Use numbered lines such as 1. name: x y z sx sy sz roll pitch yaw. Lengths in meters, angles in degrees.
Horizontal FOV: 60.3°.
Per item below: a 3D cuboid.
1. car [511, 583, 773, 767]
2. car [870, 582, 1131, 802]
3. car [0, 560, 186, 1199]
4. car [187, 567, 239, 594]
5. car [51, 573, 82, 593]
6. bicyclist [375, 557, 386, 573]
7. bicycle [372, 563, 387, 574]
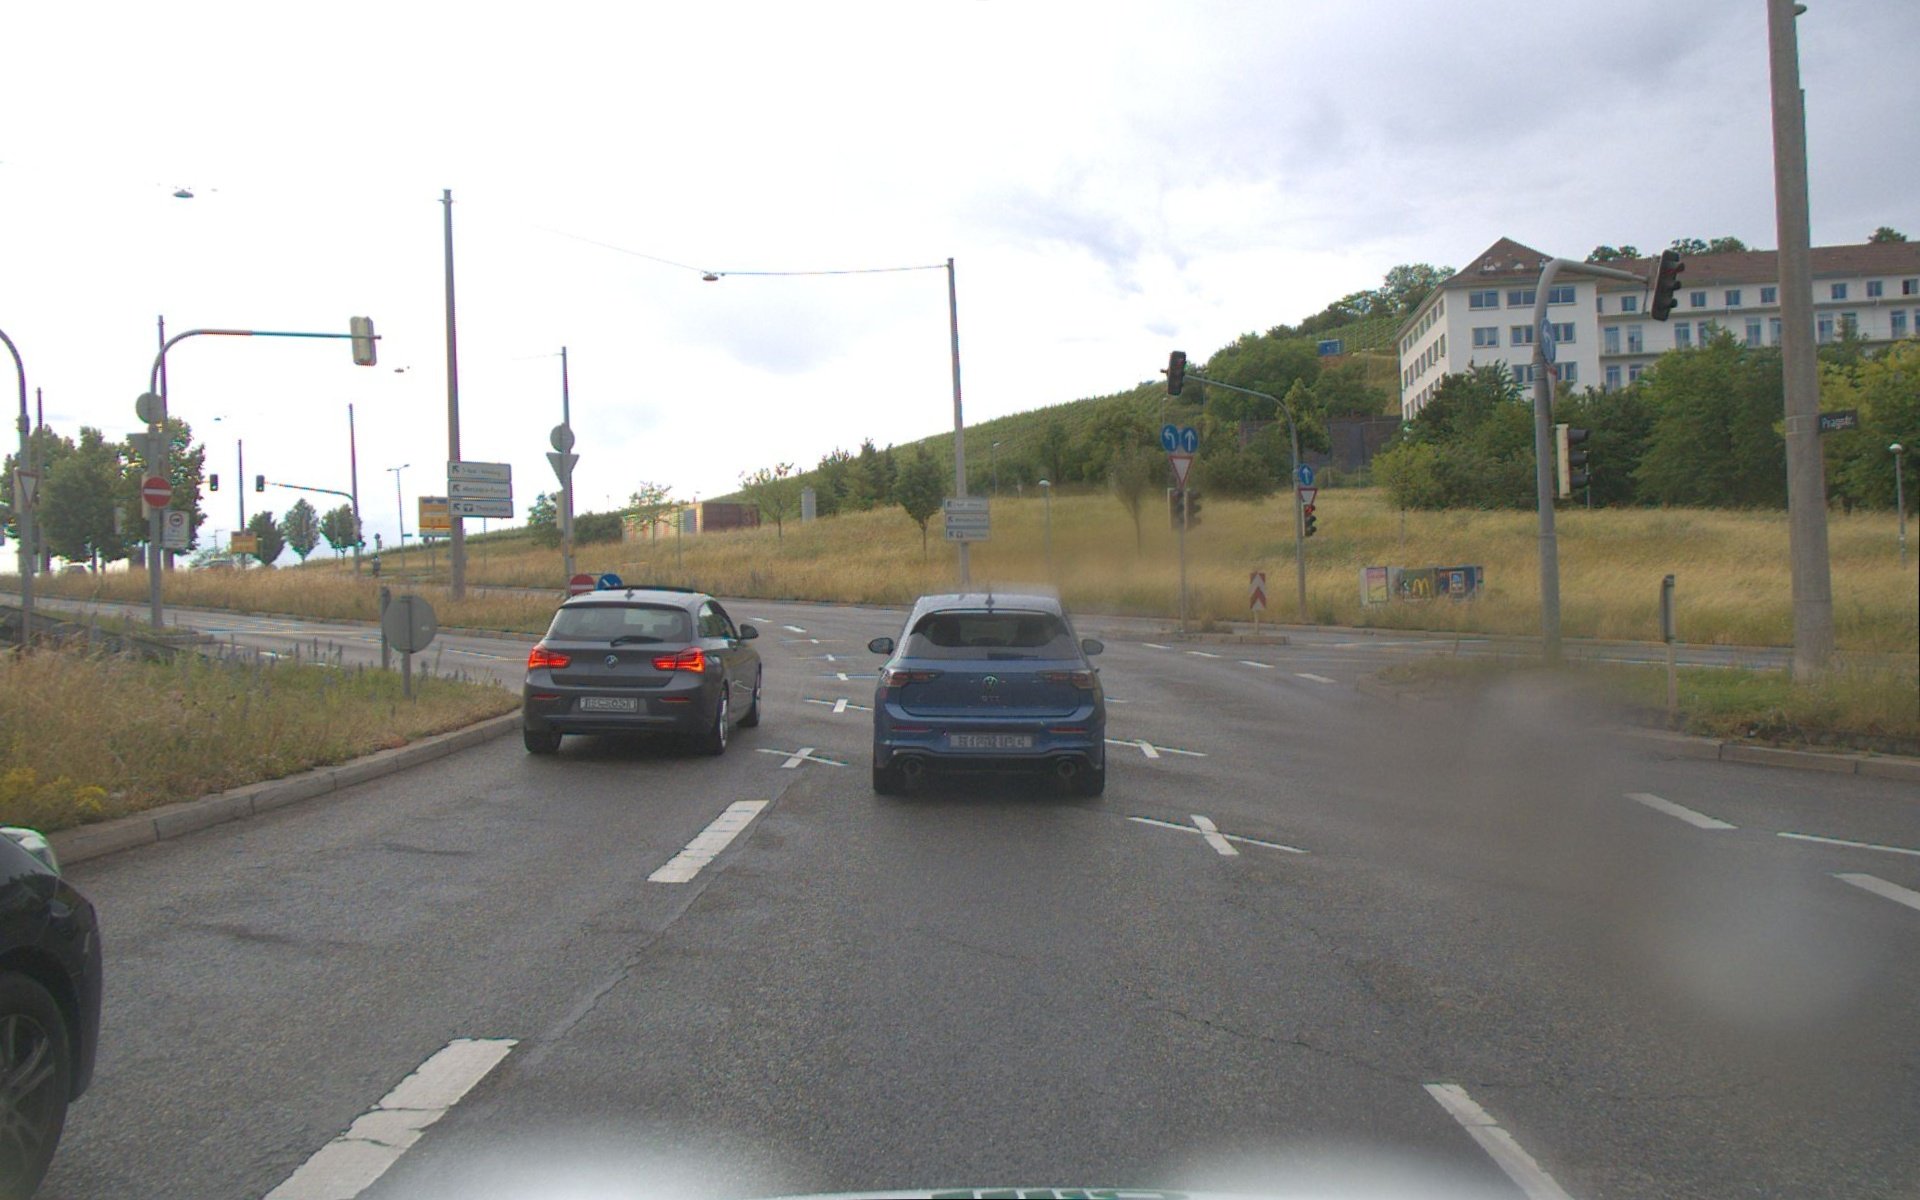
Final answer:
1. car: -2.872 0.624 15.787 1.668 1.485 4.114 -1 0 0
2. car: 0.275 0.651 13.353 1.788 1.486 3.808 -1 0 0
3. car: -2.966 0.645 2.637 1.608 1.531 3.778 2 0 0
4. car: -46.998 -1.233 104.005 1.978 1.646 4.789 1 0 -36
5. car: -77.463 -1.457 143.365 1.976 1.665 4.369 2 -1 -34
6. bicyclist: -40.363 -2.446 115.115 0.519 1.065 0.572 3 -1 -39
7. bicycle: -40.396 -2.195 115.148 0.514 0.788 1.599 1 0 -38
